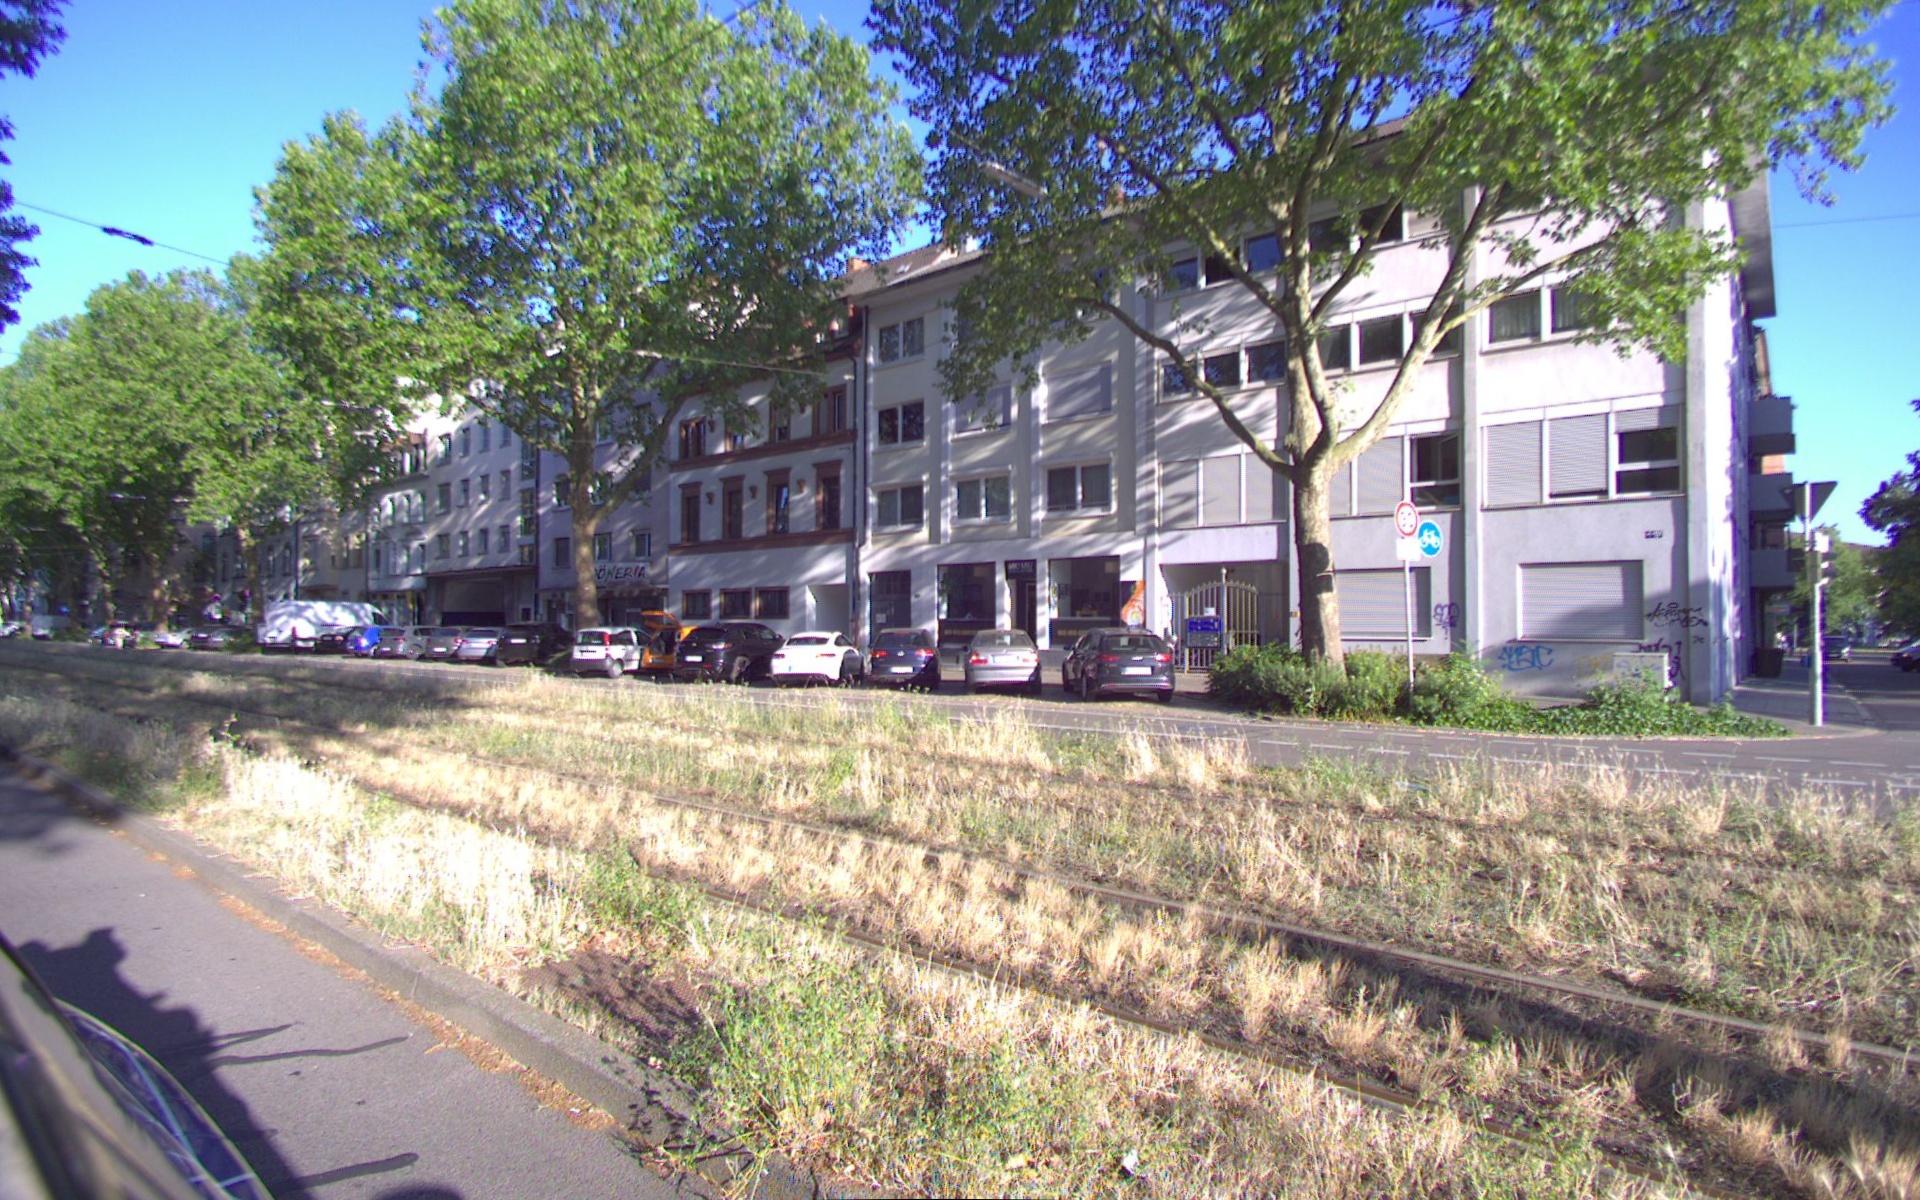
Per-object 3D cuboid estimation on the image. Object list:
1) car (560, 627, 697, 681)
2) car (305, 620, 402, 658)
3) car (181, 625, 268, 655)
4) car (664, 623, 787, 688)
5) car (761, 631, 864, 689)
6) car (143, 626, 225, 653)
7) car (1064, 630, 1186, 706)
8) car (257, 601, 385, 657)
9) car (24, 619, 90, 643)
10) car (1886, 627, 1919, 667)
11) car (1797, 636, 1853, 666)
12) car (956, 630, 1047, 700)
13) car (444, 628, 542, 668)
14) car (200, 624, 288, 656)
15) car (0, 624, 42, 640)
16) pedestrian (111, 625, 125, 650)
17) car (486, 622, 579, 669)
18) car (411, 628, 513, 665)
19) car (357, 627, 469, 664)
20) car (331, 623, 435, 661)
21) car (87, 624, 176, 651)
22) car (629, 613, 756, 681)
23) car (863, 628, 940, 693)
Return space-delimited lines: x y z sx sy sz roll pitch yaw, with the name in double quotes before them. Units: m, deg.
"car" -10.270 1.633 31.661 1.634 1.569 4.221 -1 -2 25
"car" -30.613 1.961 51.198 1.980 1.830 3.982 0 -2 13
"car" -45.132 2.436 62.221 1.980 1.830 3.982 0 -2 13
"car" -6.489 1.504 28.528 2.126 1.697 4.250 0 -2 6
"car" -3.783 1.513 26.678 2.123 1.388 4.257 0 -2 0
"car" -51.656 2.603 67.461 1.980 1.719 3.982 0 -2 13
"car" 3.339 1.359 21.237 1.746 1.443 3.973 0 -2 -2
"car" -33.078 1.519 52.614 2.161 2.721 5.583 0 -2 16
"car" -88.303 3.030 99.042 2.071 2.230 4.943 0 -2 -2
"car" 50.617 2.375 51.000 5.395 2.029 1.983 -1 -2 26
"car" 62.885 3.676 73.640 1.991 2.029 5.371 -1 -2 29
"car" 0.870 1.421 23.277 1.717 1.443 3.973 -1 -2 -2
"car" -18.115 1.822 39.472 1.582 1.470 4.251 0 -2 4
"car" -42.537 2.381 60.227 1.980 1.830 3.982 0 -2 13
"car" -106.575 3.585 114.463 3.937 1.827 1.876 2 -2 -40
"pedestrian" -54.810 2.428 65.842 0.422 1.610 0.612 -1 -2 41
"car" -15.538 1.635 37.042 1.879 1.626 4.261 0 -2 -4
"car" -20.452 1.881 41.782 1.883 1.468 4.251 0 -2 4
"car" -23.843 1.949 44.263 1.985 1.530 3.973 0 -2 20
"car" -26.272 1.897 46.235 1.980 1.630 3.982 0 -2 13
"car" -54.893 2.469 67.107 1.996 1.719 4.184 -1 -2 36
"car" -8.282 1.437 31.721 1.508 1.958 4.221 -1 -2 25
"car" -1.452 1.473 25.657 1.805 1.516 3.973 0 -2 -2
